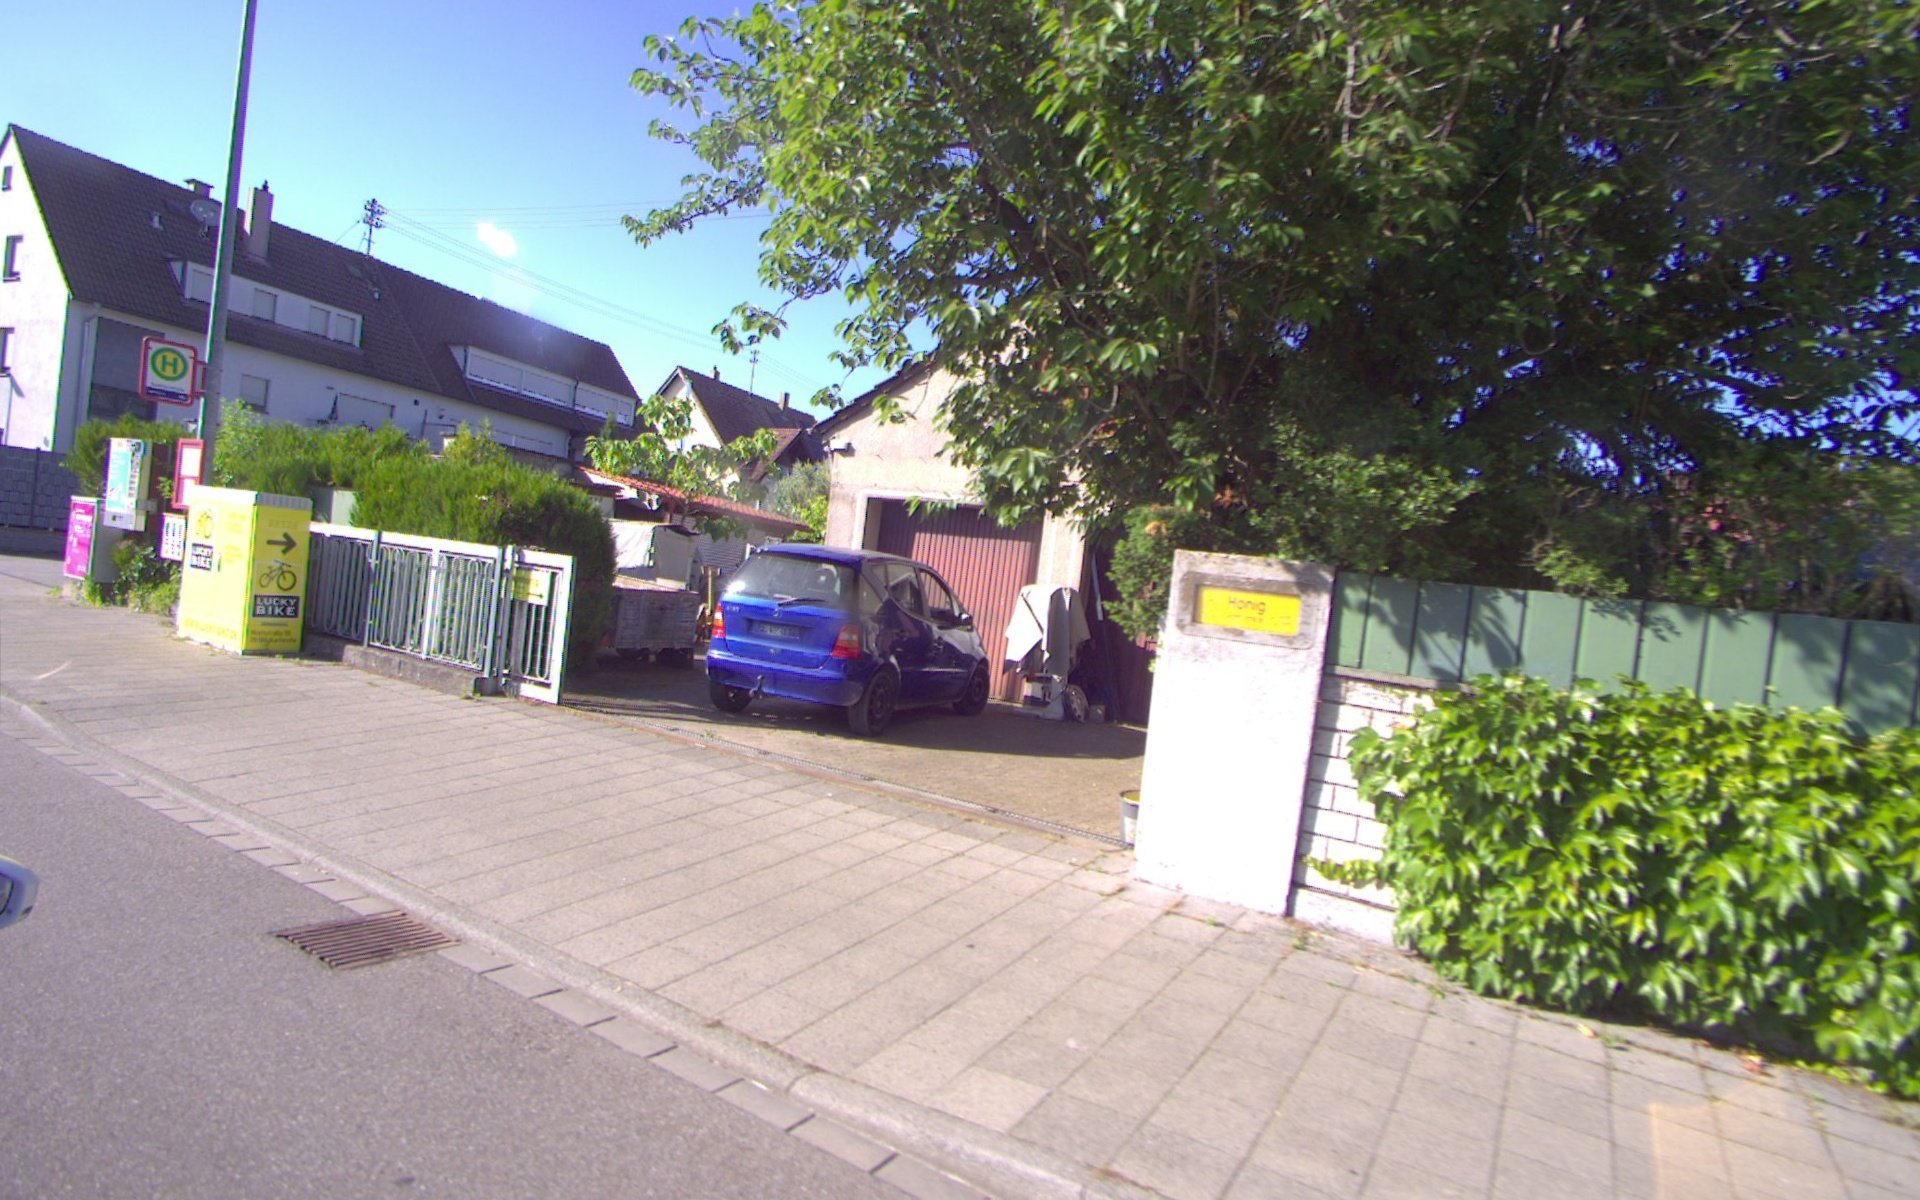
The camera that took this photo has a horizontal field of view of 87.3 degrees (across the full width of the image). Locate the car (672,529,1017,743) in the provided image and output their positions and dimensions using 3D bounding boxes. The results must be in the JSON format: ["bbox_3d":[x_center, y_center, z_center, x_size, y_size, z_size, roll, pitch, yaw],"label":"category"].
[{"bbox_3d":[-0.928,0.321,10.129,1.720,1.590,3.769,7,1,22],"label":"car"}]
